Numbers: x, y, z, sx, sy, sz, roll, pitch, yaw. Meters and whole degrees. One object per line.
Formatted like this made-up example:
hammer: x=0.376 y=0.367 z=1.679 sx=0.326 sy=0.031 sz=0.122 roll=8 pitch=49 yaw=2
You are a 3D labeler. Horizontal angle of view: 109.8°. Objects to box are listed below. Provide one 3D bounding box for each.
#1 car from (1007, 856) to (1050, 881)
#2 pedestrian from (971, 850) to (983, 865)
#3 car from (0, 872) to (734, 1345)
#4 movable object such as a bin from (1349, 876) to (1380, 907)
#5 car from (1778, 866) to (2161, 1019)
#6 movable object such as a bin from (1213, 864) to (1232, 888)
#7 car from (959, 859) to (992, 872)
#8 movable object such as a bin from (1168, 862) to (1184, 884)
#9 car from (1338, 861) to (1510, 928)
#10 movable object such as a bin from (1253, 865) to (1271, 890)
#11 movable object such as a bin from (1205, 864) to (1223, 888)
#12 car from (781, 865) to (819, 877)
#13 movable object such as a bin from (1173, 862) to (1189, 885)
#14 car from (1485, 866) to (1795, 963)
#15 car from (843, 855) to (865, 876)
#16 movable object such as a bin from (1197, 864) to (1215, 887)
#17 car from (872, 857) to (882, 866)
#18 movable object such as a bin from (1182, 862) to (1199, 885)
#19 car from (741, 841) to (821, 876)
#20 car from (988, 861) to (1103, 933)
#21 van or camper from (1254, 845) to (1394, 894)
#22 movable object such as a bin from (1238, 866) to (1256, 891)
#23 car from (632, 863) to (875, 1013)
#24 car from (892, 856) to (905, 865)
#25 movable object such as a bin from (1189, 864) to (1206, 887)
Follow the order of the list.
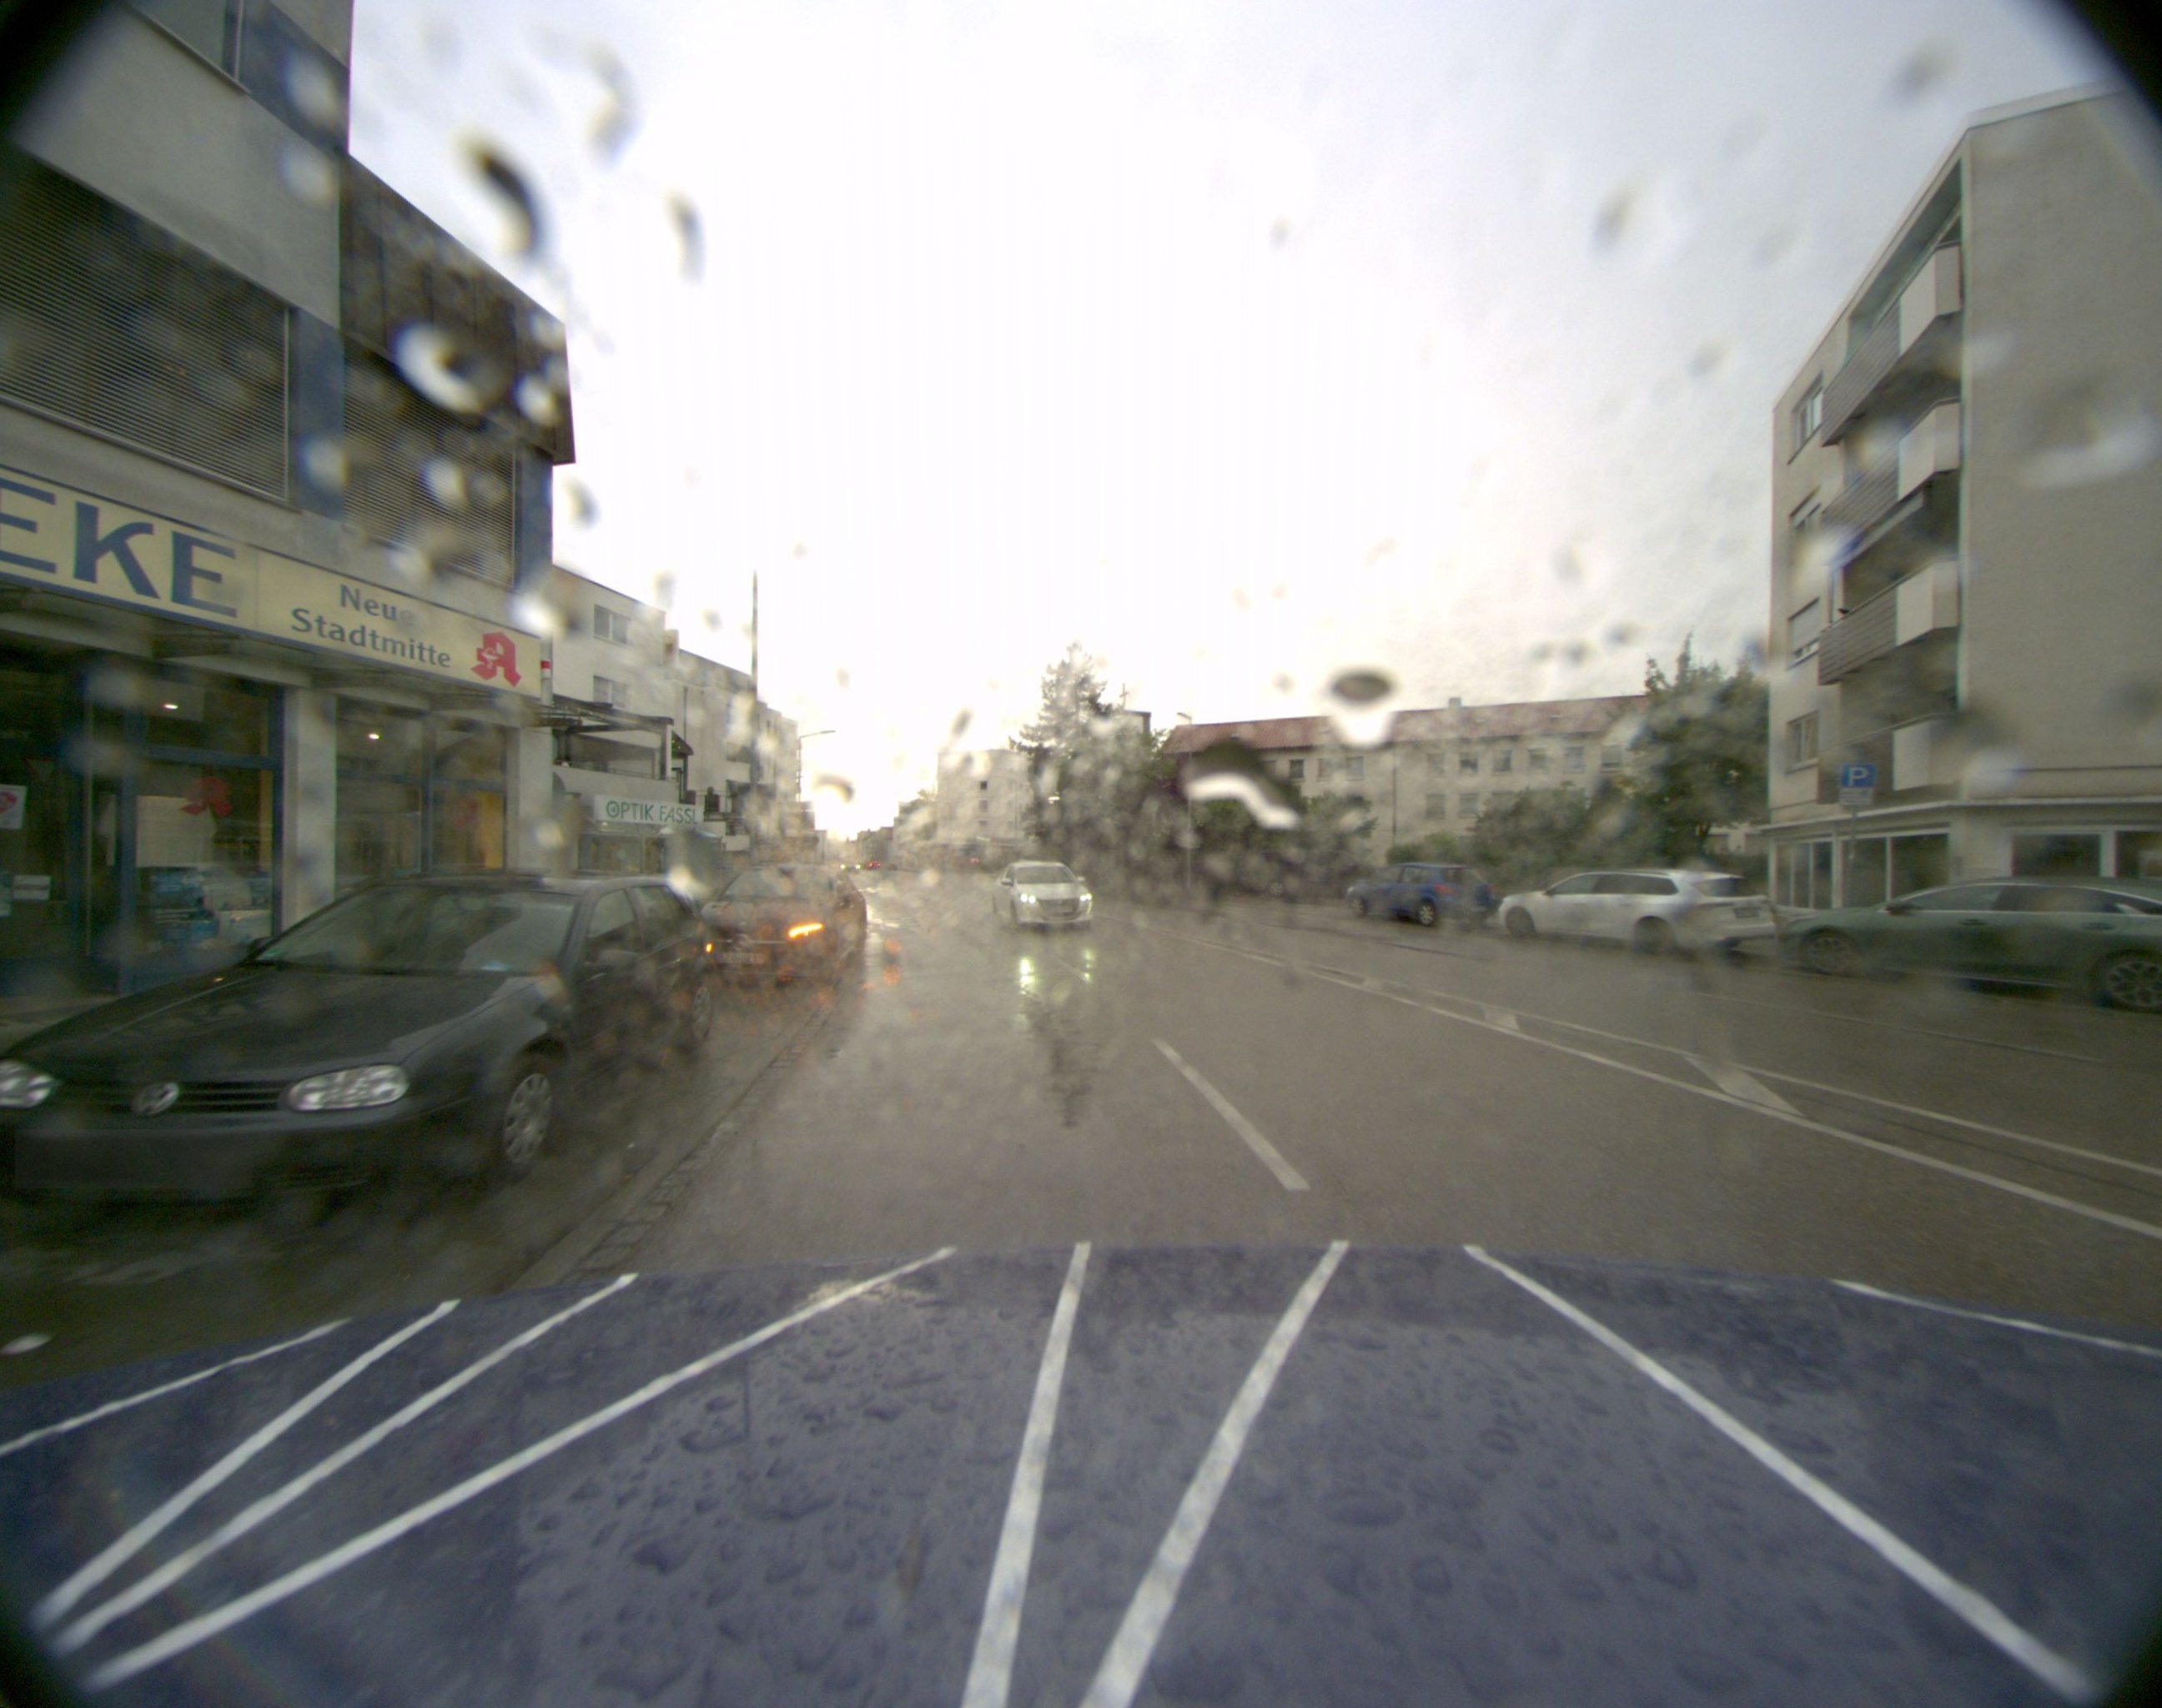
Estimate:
car: x=-3.202 y=0.855 z=45.724 sx=1.832 sy=1.431 sz=3.836 roll=2 pitch=-1 yaw=-16
pedestrian: x=-11.025 y=0.349 z=80.472 sx=0.873 sy=1.598 sz=1.101 roll=-1 pitch=1 yaw=-26
car: x=-3.639 y=0.930 z=4.567 sx=1.704 sy=1.477 sz=3.997 roll=3 pitch=0 yaw=-8
movable object such as a bin: x=9.134 y=1.206 z=24.493 sx=0.650 sy=0.960 sz=0.681 roll=0 pitch=0 yaw=-17
car: x=11.889 y=0.956 z=9.358 sx=1.942 sy=1.533 sz=4.514 roll=0 pitch=0 yaw=-17
movable object such as a bin: x=6.622 y=1.032 z=35.541 sx=0.602 sy=1.111 sz=0.600 roll=0 pitch=0 yaw=-30
car: x=-12.985 y=1.379 z=93.626 sx=1.995 sy=1.537 sz=4.478 roll=1 pitch=0 yaw=23
movable object such as a bin: x=4.836 y=0.976 z=38.837 sx=0.602 sy=1.112 sz=0.600 roll=0 pitch=1 yaw=-20
car: x=8.736 y=0.952 z=19.798 sx=1.658 sy=1.512 sz=4.318 roll=0 pitch=0 yaw=-17
movable object such as a bin: x=8.160 y=1.047 z=34.322 sx=0.599 sy=1.111 sz=0.602 roll=1 pitch=0 yaw=37
movable object such as a bin: x=6.318 y=1.048 z=36.100 sx=0.602 sy=1.111 sz=0.600 roll=0 pitch=0 yaw=-30
car: x=-36.799 y=2.189 z=99.593 sx=4.265 sy=1.485 sz=1.875 roll=-1 pitch=-2 yaw=9
movable object such as a bin: x=5.042 y=0.966 z=38.250 sx=0.602 sy=1.112 sz=0.600 roll=0 pitch=1 yaw=-20
car: x=10.233 y=0.994 z=14.472 sx=1.700 sy=1.455 sz=4.677 roll=0 pitch=0 yaw=-17
car: x=-22.428 y=1.147 z=75.218 sx=2.001 sy=2.001 sz=3.995 roll=0 pitch=-1 yaw=-16
movable object such as a bin: x=6.007 y=1.029 z=36.637 sx=0.602 sy=1.111 sz=0.600 roll=0 pitch=0 yaw=-30
car: x=-37.081 y=1.435 z=138.014 sx=1.809 sy=1.547 sz=4.313 roll=-1 pitch=-1 yaw=-16
movable object such as a bin: x=5.448 y=0.970 z=37.728 sx=0.602 sy=1.112 sz=0.600 roll=0 pitch=1 yaw=-20
car: x=-17.988 y=0.270 z=45.803 sx=1.996 sy=2.002 sz=4.785 roll=0 pitch=0 yaw=15
car: x=-0.979 y=0.929 z=17.853 sx=1.832 sy=1.431 sz=4.340 roll=-1 pitch=-1 yaw=-14
van or camper: x=10.003 y=0.665 z=31.393 sx=5.204 sy=1.913 sz=2.004 roll=-1 pitch=-1 yaw=28
movable object such as a bin: x=7.565 y=1.101 z=34.709 sx=0.599 sy=1.111 sz=0.602 roll=1 pitch=0 yaw=37
car: x=-4.253 y=0.951 z=10.788 sx=2.000 sy=1.525 sz=4.643 roll=-1 pitch=1 yaw=-8
car: x=-33.405 y=1.220 z=138.892 sx=1.705 sy=1.400 sz=3.993 roll=2 pitch=-2 yaw=-21
movable object such as a bin: x=5.708 y=1.035 z=37.178 sx=0.602 sy=1.111 sz=0.600 roll=0 pitch=0 yaw=-30
